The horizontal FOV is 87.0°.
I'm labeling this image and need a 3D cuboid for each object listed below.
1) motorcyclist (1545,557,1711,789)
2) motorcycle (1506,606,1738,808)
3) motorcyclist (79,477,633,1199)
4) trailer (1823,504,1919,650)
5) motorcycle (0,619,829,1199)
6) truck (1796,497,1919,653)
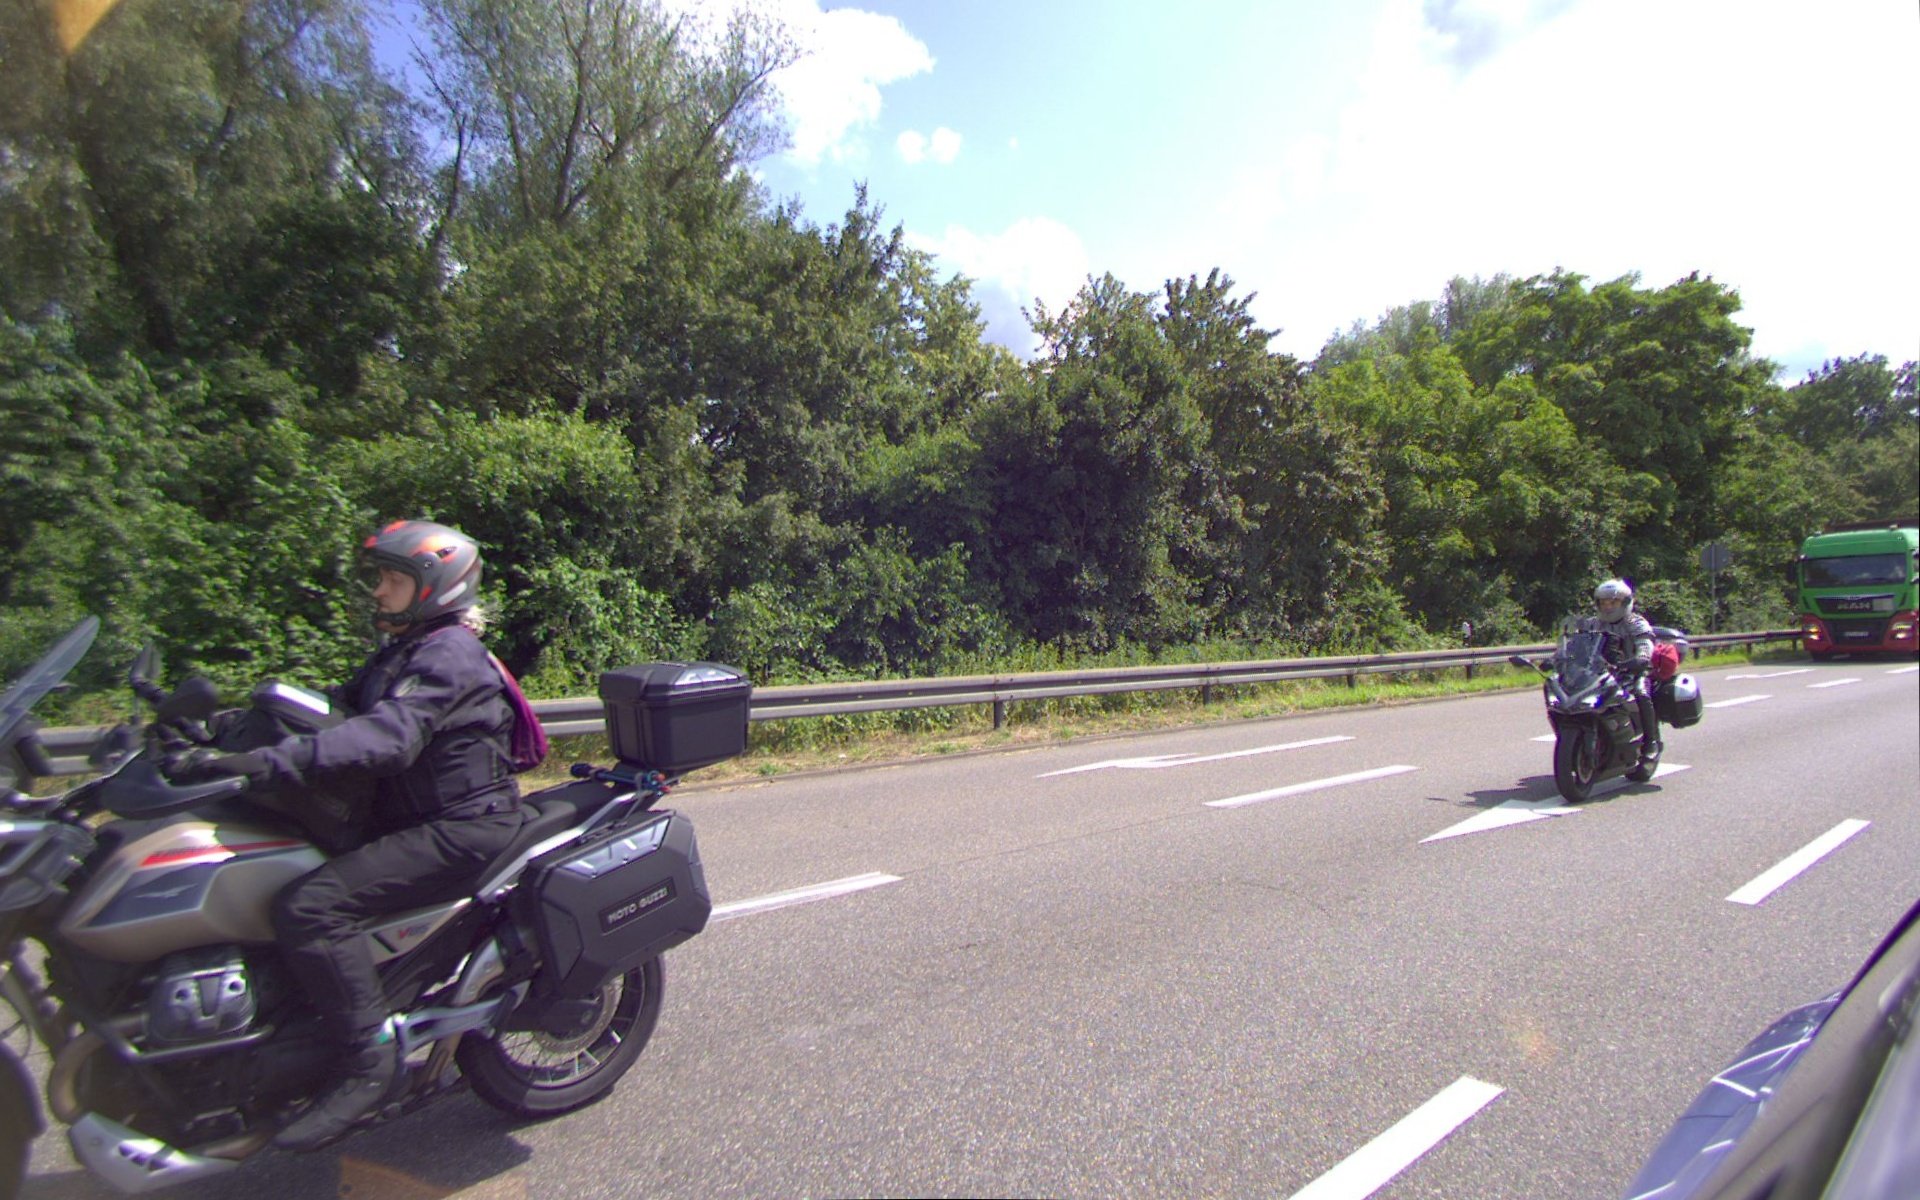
[{"bbox_3d":[5.362,0.549,8.137,0.878,1.722,0.867,1,-2,-38],"label":"motorcyclist"},{"bbox_3d":[5.356,0.755,8.126,2.327,1.407,0.867,1,-1,-39],"label":"motorcycle"},{"bbox_3d":[-1.542,0.579,2.601,1.064,1.611,0.938,0,-1,-41],"label":"motorcyclist"},{"bbox_3d":[31.418,-0.595,32.081,14.226,3.944,2.592,0,-3,-35],"label":"trailer"},{"bbox_3d":[-1.568,0.766,2.574,2.328,1.401,0.938,0,-1,-41],"label":"motorcycle"},{"bbox_3d":[26.138,-0.592,28.299,5.945,3.945,2.592,0,-3,-35],"label":"truck"}]
